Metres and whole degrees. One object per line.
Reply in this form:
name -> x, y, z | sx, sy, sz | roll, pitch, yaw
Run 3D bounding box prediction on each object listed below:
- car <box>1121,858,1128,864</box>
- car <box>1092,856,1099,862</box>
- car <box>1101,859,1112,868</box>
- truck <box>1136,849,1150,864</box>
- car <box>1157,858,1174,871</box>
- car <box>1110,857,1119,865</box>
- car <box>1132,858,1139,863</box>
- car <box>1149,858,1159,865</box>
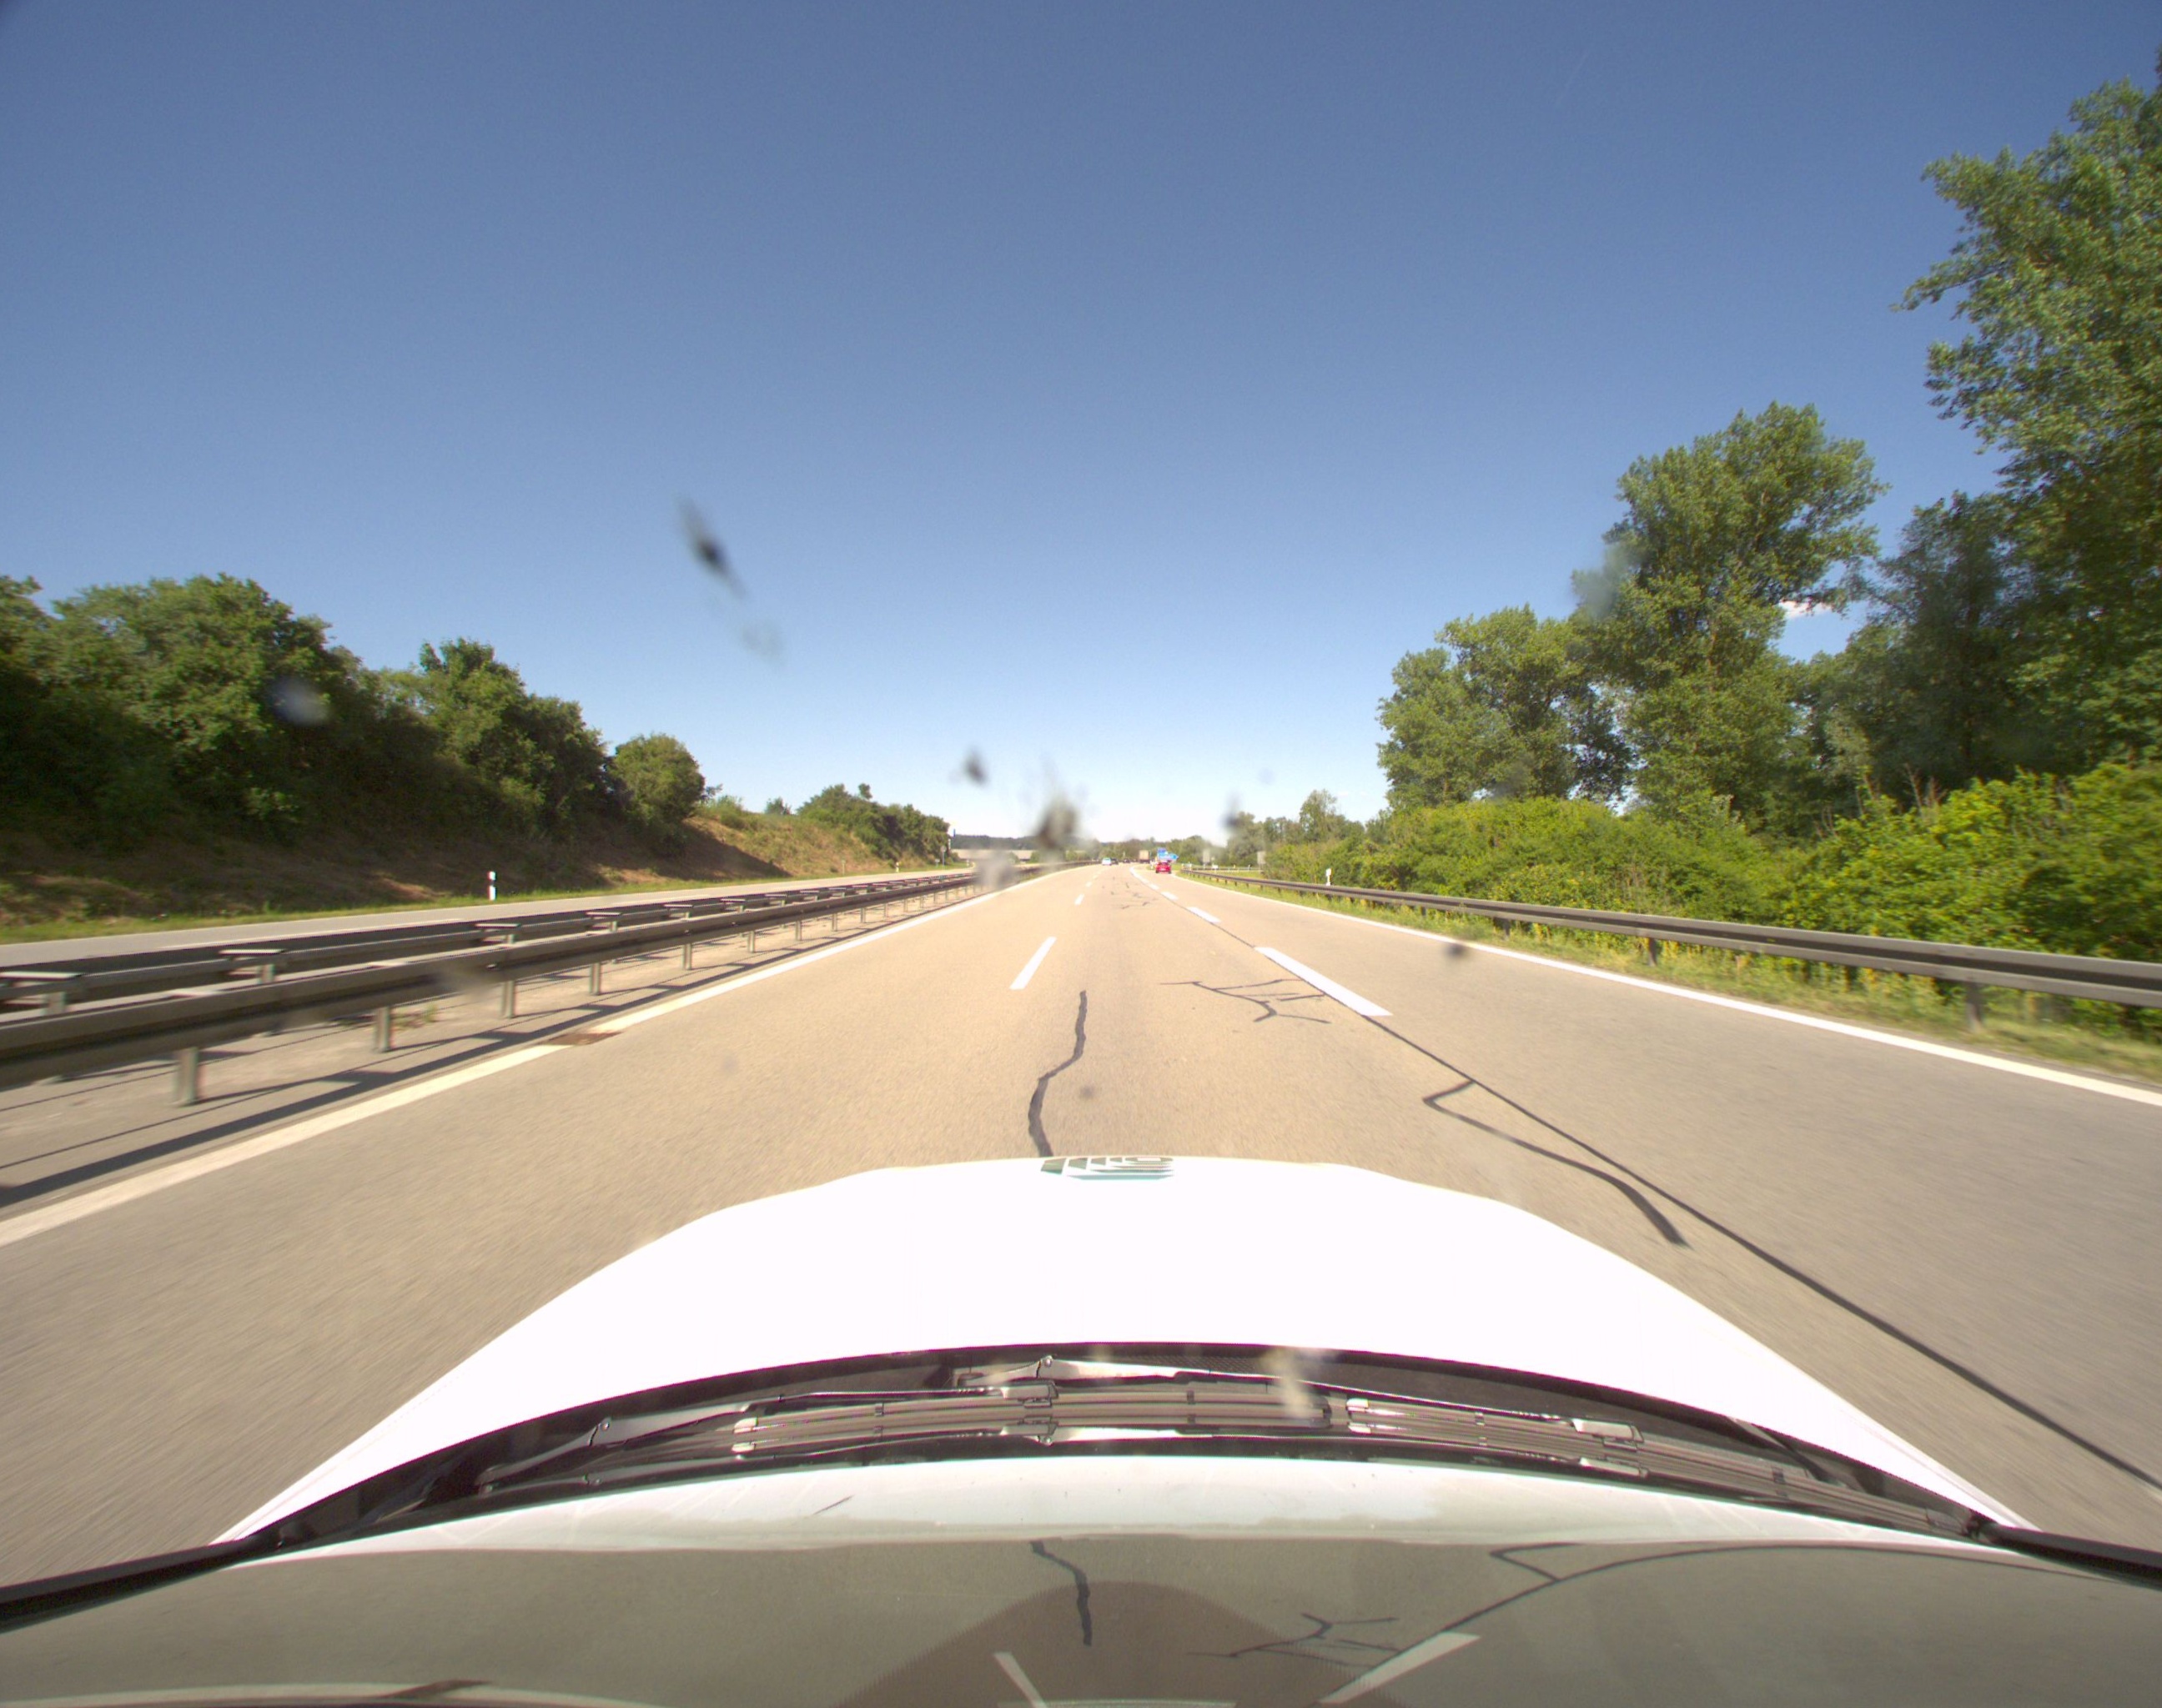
car -> 11.890, 1.924, 223.038 | 1.986, 1.750, 4.002 | 0, 0, 2
car -> 4.270, 1.454, 234.742 | 1.872, 1.625, 4.001 | -1, -3, 2
car -> 4.977, 1.826, 159.337 | 2.054, 1.625, 4.001 | -1, -3, 2
truck -> 18.175, 0.726, 237.971 | 3.820, 4.397, 11.485 | -1, 0, 5
car -> 10.191, 1.305, 98.525 | 1.774, 1.431, 4.009 | 3, -1, 8
car -> 7.456, 1.594, 180.304 | 1.986, 1.750, 4.002 | 0, 0, 2
car -> 16.858, 1.975, 252.701 | 1.985, 1.750, 4.004 | 0, 0, 4
car -> 17.372, 1.833, 193.686 | 1.986, 1.750, 4.002 | 0, 0, 2
